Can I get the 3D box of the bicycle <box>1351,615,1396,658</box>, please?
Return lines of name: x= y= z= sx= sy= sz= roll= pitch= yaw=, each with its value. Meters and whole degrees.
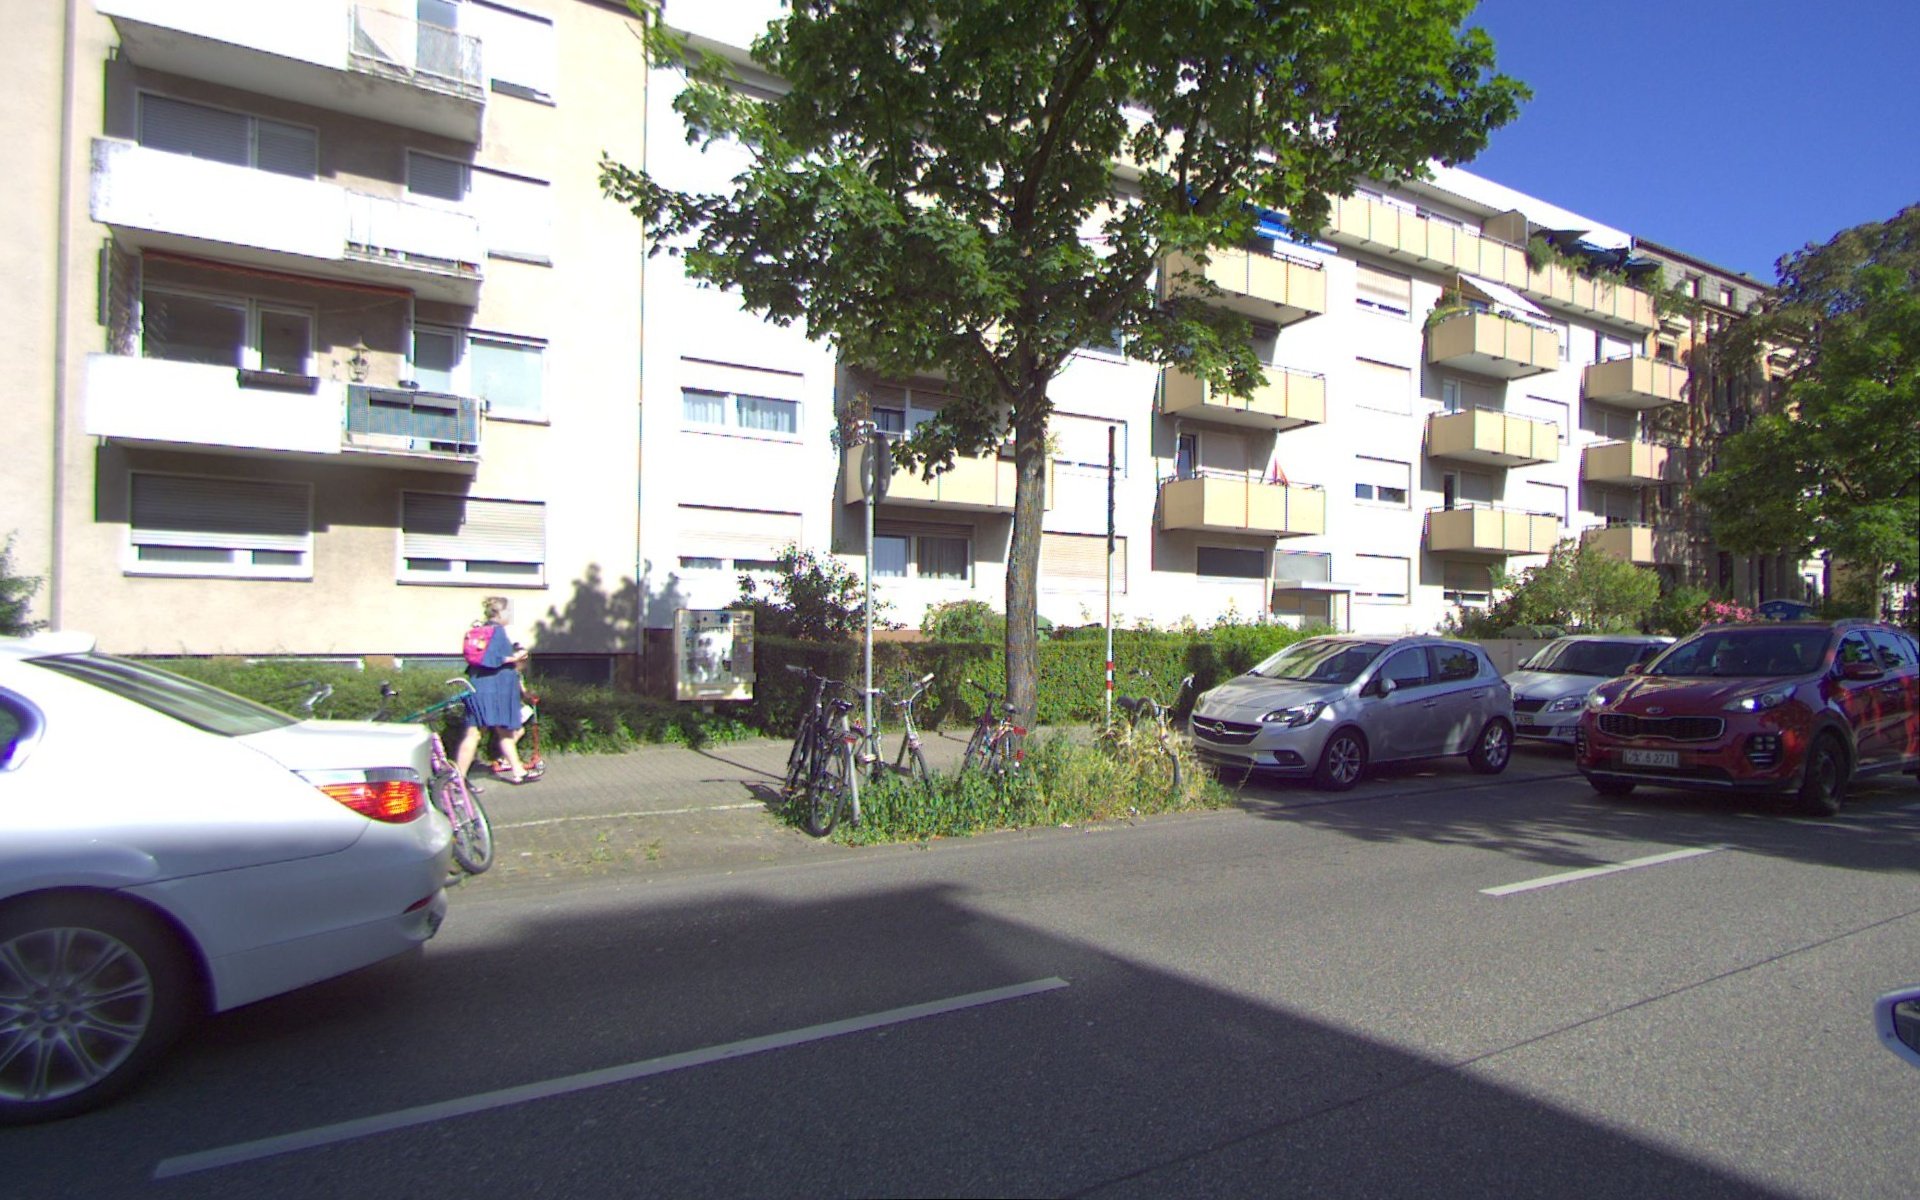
bicycle: x=10.959 y=0.951 z=26.669 sx=0.494 sy=1.075 sz=1.559 roll=0 pitch=1 yaw=-2

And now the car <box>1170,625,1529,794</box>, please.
car: x=4.215 y=1.048 z=10.729 sx=3.850 sy=1.495 sz=1.497 roll=1 pitch=0 yaw=-30

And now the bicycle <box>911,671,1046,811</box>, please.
bicycle: x=0.126 y=1.188 z=8.815 sx=0.442 sy=0.978 sz=1.529 roll=2 pitch=1 yaw=-29

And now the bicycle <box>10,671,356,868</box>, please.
bicycle: x=-4.861 y=1.021 z=6.425 sx=1.687 sy=1.093 sz=0.424 roll=1 pitch=-2 yaw=-31

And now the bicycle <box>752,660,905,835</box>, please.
bicycle: x=-1.107 y=1.106 z=8.080 sx=0.553 sy=1.101 sz=1.818 roll=2 pitch=1 yaw=-29

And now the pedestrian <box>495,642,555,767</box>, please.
pedestrian: x=-4.240 y=1.003 z=9.786 sx=0.484 sy=1.176 sz=0.333 roll=1 pitch=0 yaw=-30

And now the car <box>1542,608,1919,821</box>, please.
car: x=7.679 y=0.970 z=9.558 sx=4.246 sy=1.638 sz=1.715 roll=1 pitch=-4 yaw=-29

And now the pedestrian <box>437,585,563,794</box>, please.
pedestrian: x=-4.009 y=0.742 z=8.747 sx=0.919 sy=1.709 sz=0.666 roll=1 pitch=0 yaw=-30

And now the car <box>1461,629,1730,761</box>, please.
car: x=8.387 y=1.160 z=13.209 sx=3.639 sy=1.509 sz=1.395 roll=1 pitch=0 yaw=-28

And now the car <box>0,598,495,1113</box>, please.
car: x=-4.142 y=0.758 z=3.191 sx=4.720 sy=1.484 sz=1.806 roll=2 pitch=-4 yaw=-29

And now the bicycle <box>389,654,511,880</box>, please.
bicycle: x=-3.419 y=0.999 z=6.653 sx=0.513 sy=1.178 sz=1.956 roll=1 pitch=0 yaw=-33

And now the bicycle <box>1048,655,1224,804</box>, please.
bicycle: x=1.573 y=1.134 z=9.317 sx=0.553 sy=1.101 sz=1.818 roll=2 pitch=1 yaw=-29

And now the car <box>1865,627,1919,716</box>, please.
car: x=19.684 y=1.381 z=19.681 sx=4.343 sy=1.626 sz=1.662 roll=1 pitch=0 yaw=-30

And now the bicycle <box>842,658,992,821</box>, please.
bicycle: x=-0.418 y=1.118 z=8.565 sx=0.487 sy=1.101 sz=1.818 roll=2 pitch=1 yaw=-29
